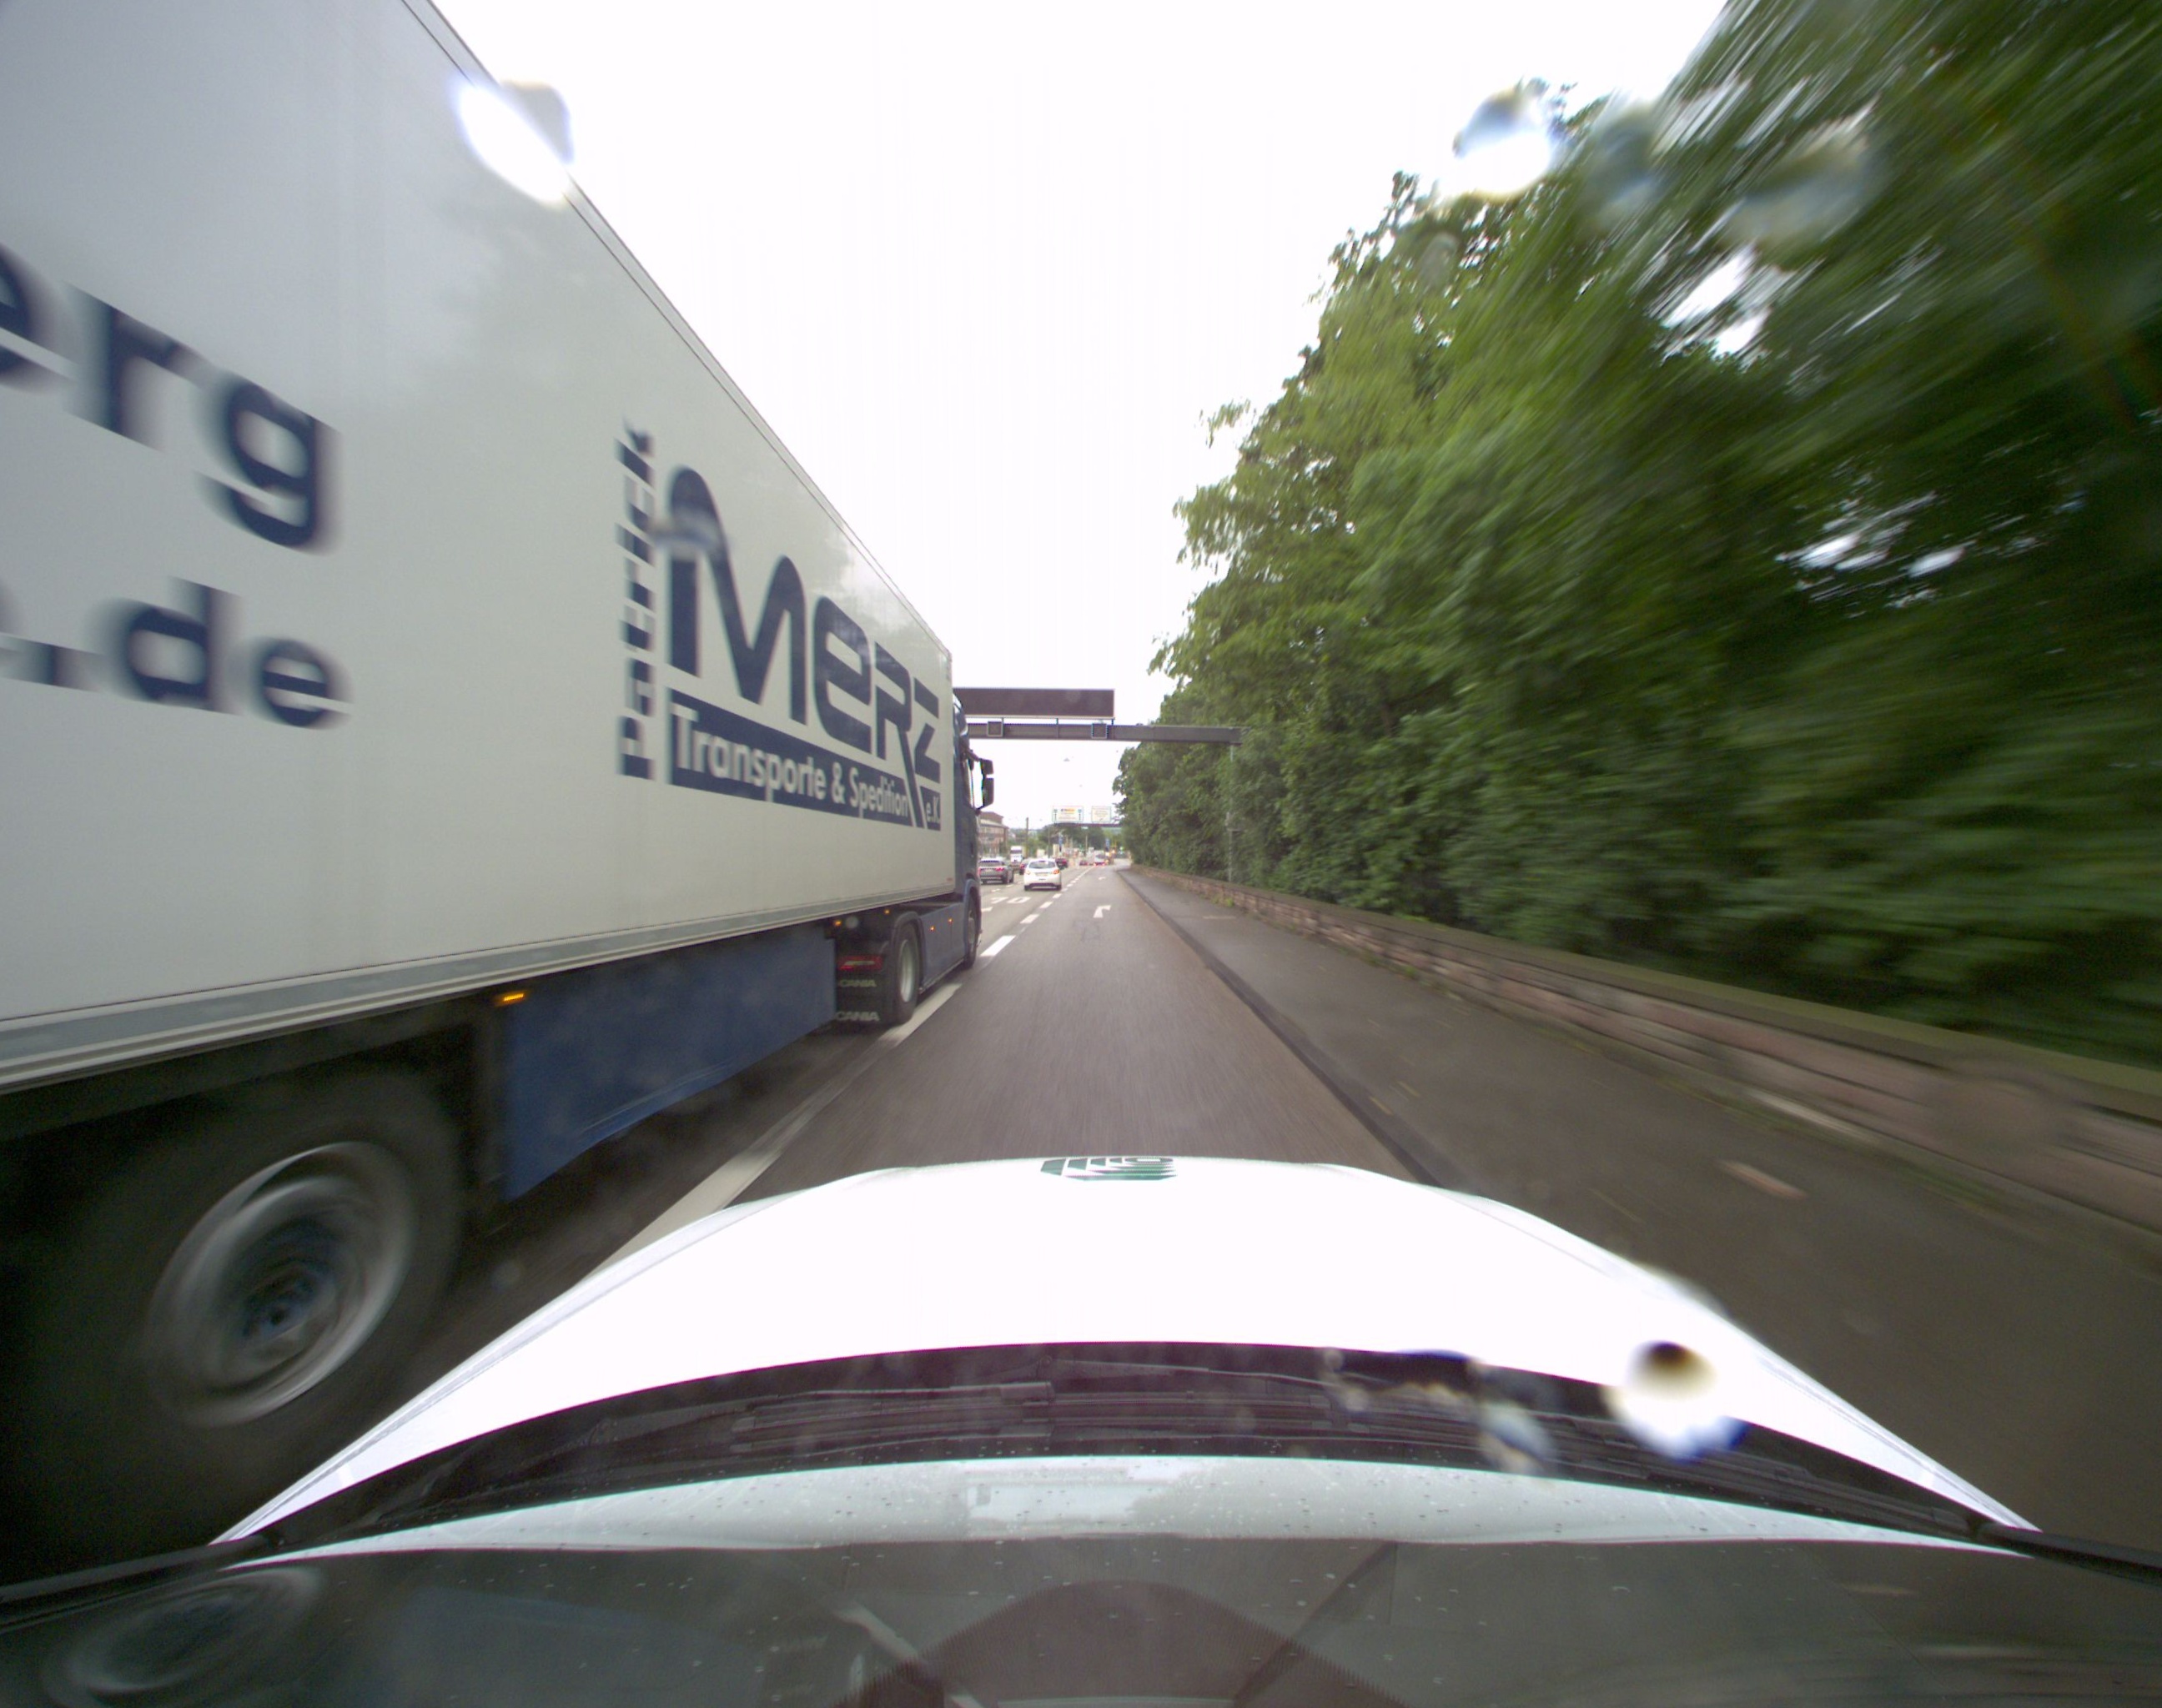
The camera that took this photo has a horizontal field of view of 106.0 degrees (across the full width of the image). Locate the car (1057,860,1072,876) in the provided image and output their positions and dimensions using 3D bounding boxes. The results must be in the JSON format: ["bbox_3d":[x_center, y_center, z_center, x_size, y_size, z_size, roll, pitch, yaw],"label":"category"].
[{"bbox_3d":[-2.269,1.939,113.203,1.986,2.014,4.000,1,-3,1],"label":"car"}]

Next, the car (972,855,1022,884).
[{"bbox_3d":[-4.847,0.863,47.413,1.810,1.565,4.103,-2,0,9],"label":"car"}]

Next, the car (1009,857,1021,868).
[{"bbox_3d":[-13.522,1.718,166.651,1.986,2.014,4.000,1,-3,1],"label":"car"}]

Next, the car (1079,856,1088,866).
[{"bbox_3d":[0.520,1.578,178.479,1.986,2.014,4.000,1,-3,1],"label":"car"}]

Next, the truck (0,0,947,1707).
[{"bbox_3d":[-3.051,-0.642,2.428,2.752,4.197,13.034,-2,0,1],"label":"truck"}]

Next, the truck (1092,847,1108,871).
[{"bbox_3d":[4.737,1.357,199.209,3.449,5.402,12.060,0,-3,4],"label":"truck"}]

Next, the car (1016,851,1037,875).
[{"bbox_3d":[-4.777,0.756,72.148,1.717,1.891,3.533,-1,3,-3],"label":"car"}]

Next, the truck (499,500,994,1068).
[{"bbox_3d":[-2.882,-0.543,9.526,2.752,4.197,6.786,-2,0,1],"label":"truck"}]

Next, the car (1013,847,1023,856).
[{"bbox_3d":[-15.171,-0.560,197.346,1.986,2.014,4.000,1,-3,1],"label":"car"}]

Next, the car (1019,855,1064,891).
[{"bbox_3d":[-1.815,0.848,38.828,1.949,1.488,4.000,1,2,0],"label":"car"}]
